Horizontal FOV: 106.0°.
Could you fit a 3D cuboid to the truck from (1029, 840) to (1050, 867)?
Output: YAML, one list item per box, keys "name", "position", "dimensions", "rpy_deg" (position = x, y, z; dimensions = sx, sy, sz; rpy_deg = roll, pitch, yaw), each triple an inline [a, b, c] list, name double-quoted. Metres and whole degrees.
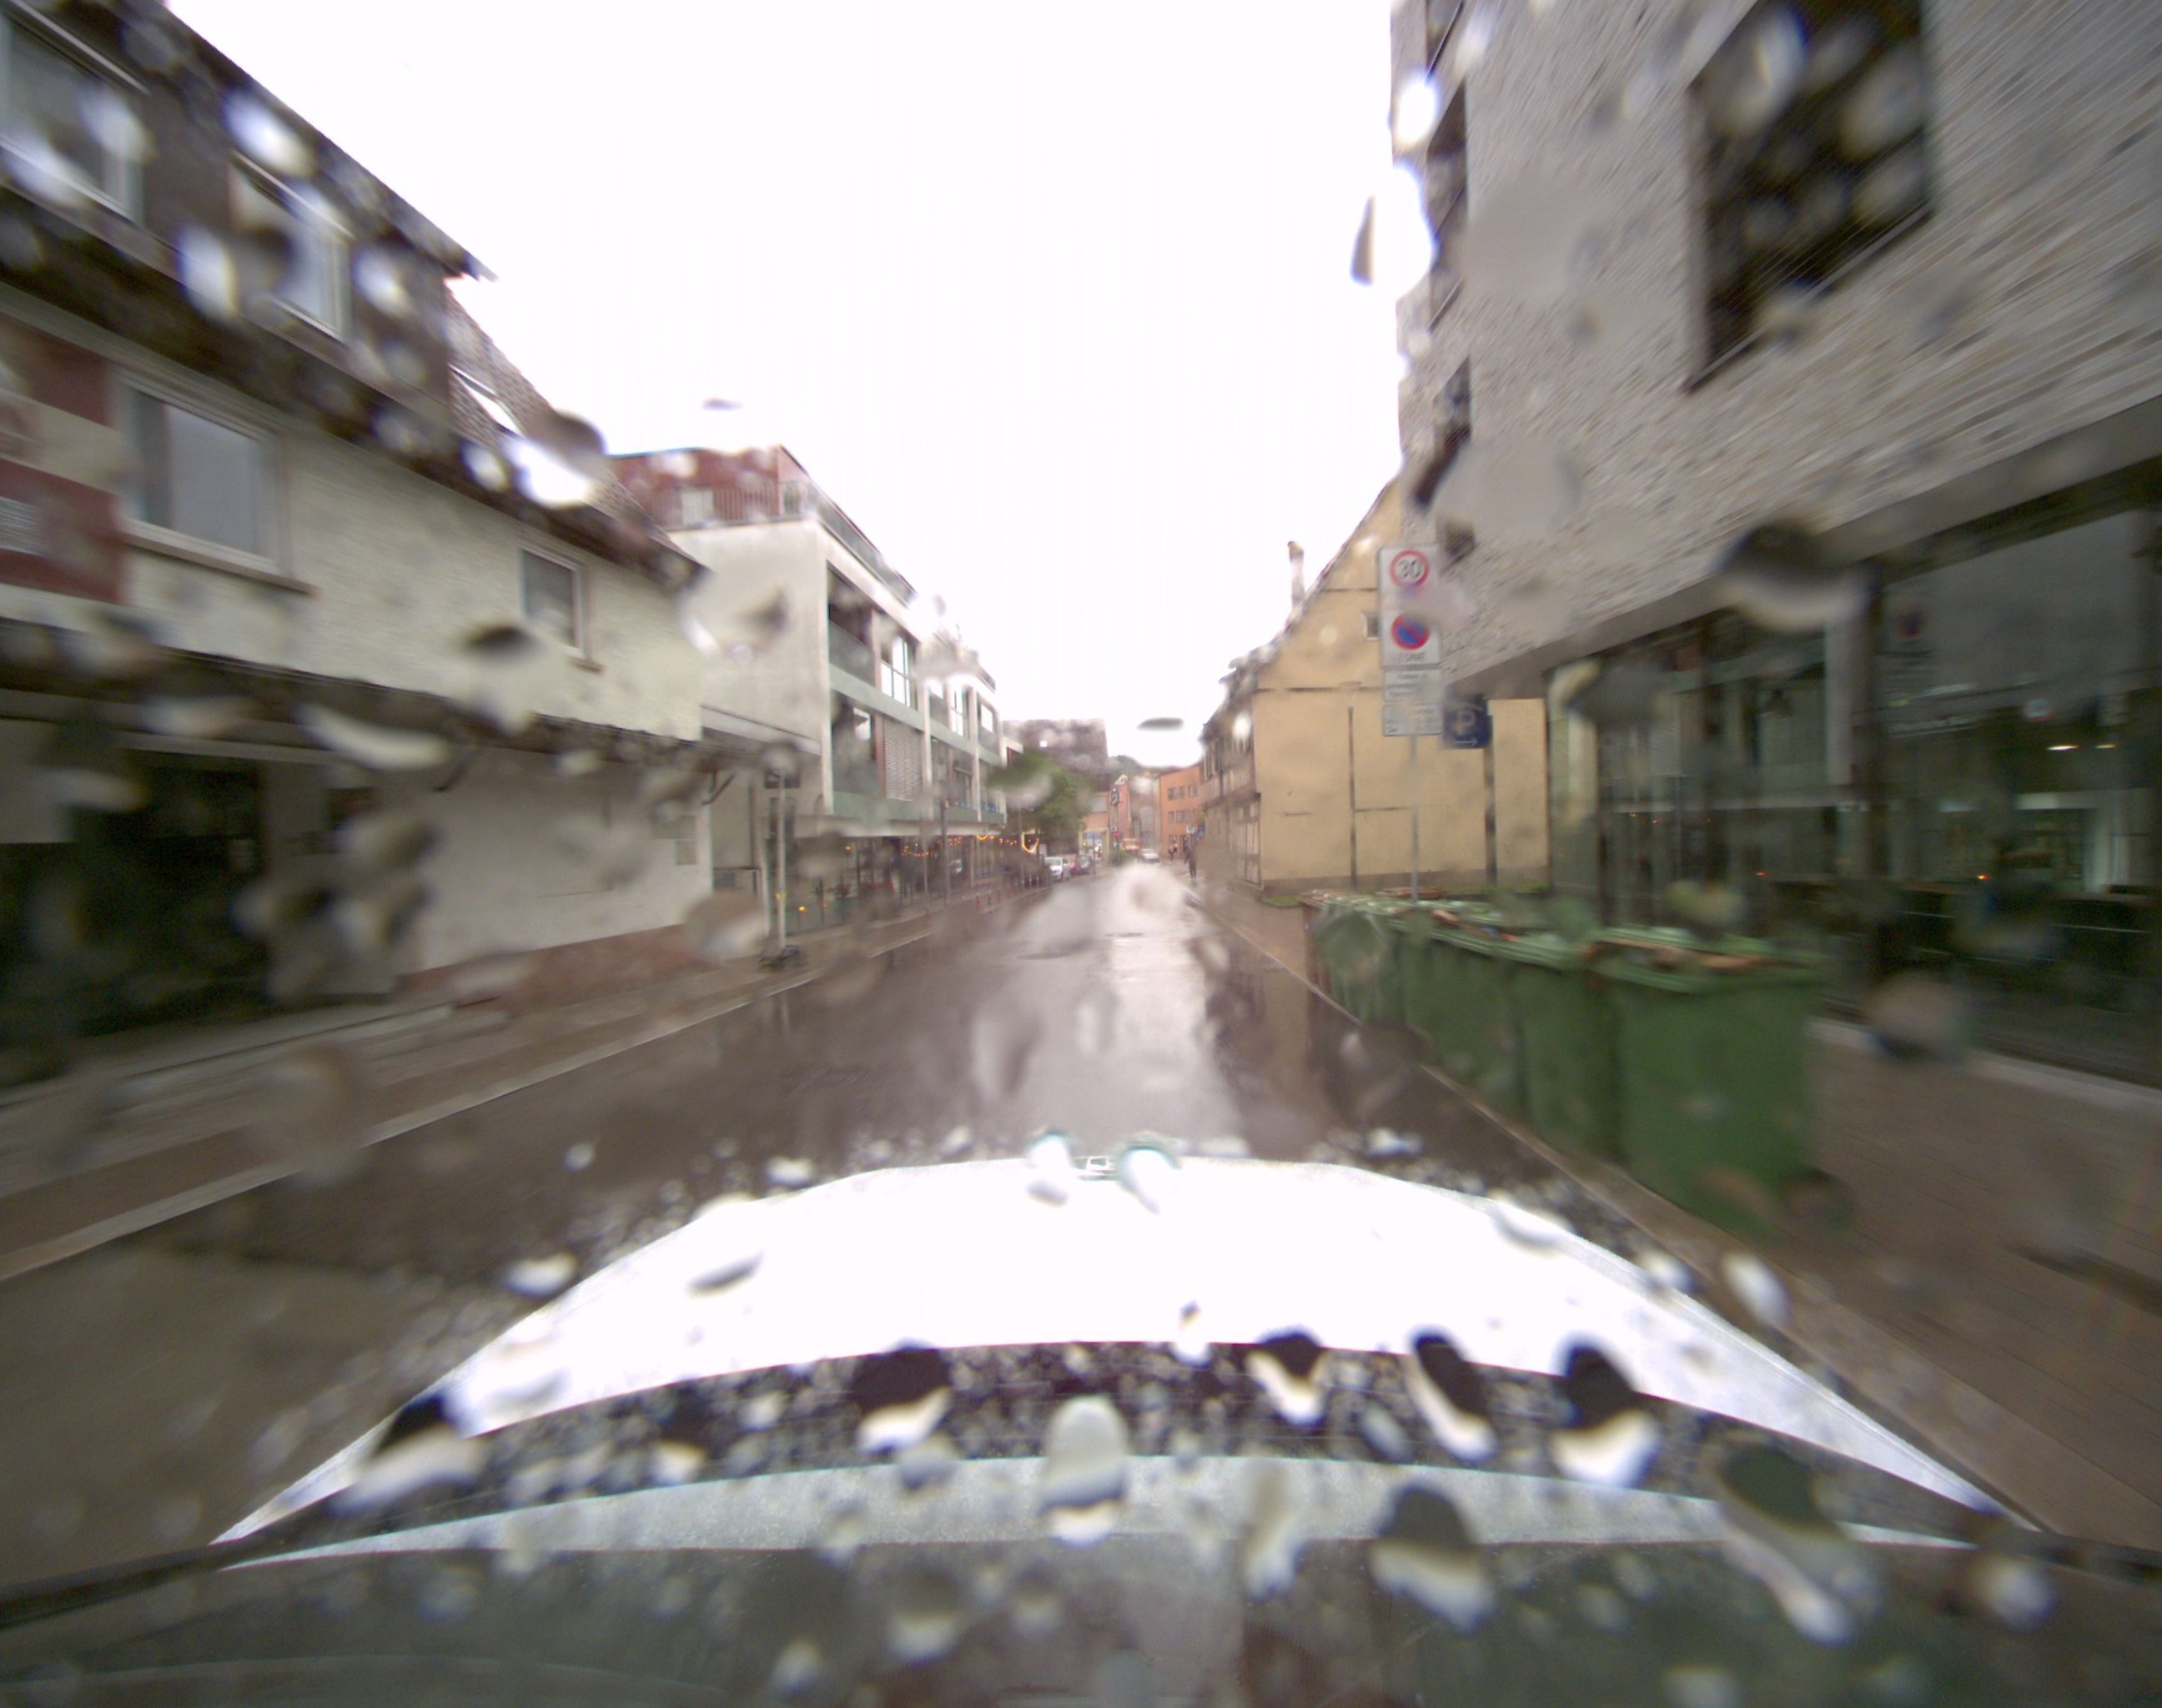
- name: "truck"
  position: [-3.826, -0.065, 75.429]
  dimensions: [1.591, 2.062, 3.194]
  rpy_deg: [-4, 5, 1]

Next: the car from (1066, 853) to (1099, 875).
- name: "car"
  position: [0.115, 0.697, 59.854]
  dimensions: [1.704, 1.458, 3.922]
  rpy_deg: [-1, 1, 10]

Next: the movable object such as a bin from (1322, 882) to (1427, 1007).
- name: "movable object such as a bin"
  position: [2.788, 0.847, 7.798]
  dimensions: [0.762, 1.095, 0.581]
  rpy_deg: [-3, 0, 3]

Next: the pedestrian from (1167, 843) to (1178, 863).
- name: "pedestrian"
  position: [8.819, -0.112, 78.271]
  dimensions: [0.854, 1.914, 0.762]
  rpy_deg: [-2, 0, 19]

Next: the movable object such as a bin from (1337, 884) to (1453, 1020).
- name: "movable object such as a bin"
  position: [2.757, 0.845, 7.205]
  dimensions: [0.762, 1.095, 0.581]
  rpy_deg: [-3, 0, 3]

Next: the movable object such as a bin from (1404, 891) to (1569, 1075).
- name: "movable object such as a bin"
  position: [2.662, 0.823, 5.409]
  dimensions: [0.762, 1.095, 0.581]
  rpy_deg: [-3, 0, 3]

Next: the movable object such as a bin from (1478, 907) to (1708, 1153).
- name: "movable object such as a bin"
  position: [2.599, 0.861, 4.210]
  dimensions: [0.737, 1.095, 0.658]
  rpy_deg: [-3, 0, 2]

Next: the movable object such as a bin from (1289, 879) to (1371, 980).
- name: "movable object such as a bin"
  position: [2.921, 0.870, 9.609]
  dimensions: [0.762, 1.095, 0.581]
  rpy_deg: [-3, 0, 3]

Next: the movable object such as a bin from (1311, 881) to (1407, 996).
- name: "movable object such as a bin"
  position: [2.853, 0.854, 8.417]
  dimensions: [0.762, 1.095, 0.581]
  rpy_deg: [-3, 0, 3]

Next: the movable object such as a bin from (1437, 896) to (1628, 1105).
- name: "movable object such as a bin"
  position: [2.630, 0.830, 4.806]
  dimensions: [0.762, 1.095, 0.581]
  rpy_deg: [-3, 0, 3]

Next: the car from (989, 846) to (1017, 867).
- name: "car"
  position: [-7.124, 0.210, 74.599]
  dimensions: [1.803, 1.617, 4.007]
  rpy_deg: [-2, 4, 5]

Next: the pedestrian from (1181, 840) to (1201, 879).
- name: "pedestrian"
  position: [5.534, 0.252, 41.066]
  dimensions: [0.807, 1.885, 0.908]
  rpy_deg: [-4, 0, 1]

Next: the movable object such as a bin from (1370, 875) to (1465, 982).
- name: "movable object such as a bin"
  position: [3.703, 0.803, 9.017]
  dimensions: [0.762, 1.095, 0.627]
  rpy_deg: [-3, 0, 3]

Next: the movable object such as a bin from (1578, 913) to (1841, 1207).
- name: "movable object such as a bin"
  position: [2.667, 0.842, 3.517]
  dimensions: [0.660, 1.095, 0.551]
  rpy_deg: [-3, 0, 1]

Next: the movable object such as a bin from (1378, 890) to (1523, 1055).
- name: "movable object such as a bin"
  position: [2.692, 0.846, 5.996]
  dimensions: [0.762, 1.095, 0.581]
  rpy_deg: [-3, 0, 3]

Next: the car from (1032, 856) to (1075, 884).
- name: "car"
  position: [-1.631, 0.912, 49.214]
  dimensions: [1.776, 1.498, 4.465]
  rpy_deg: [-3, 0, 8]

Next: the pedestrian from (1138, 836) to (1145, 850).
- name: "pedestrian"
  position: [8.888, -1.648, 120.300]
  dimensions: [0.865, 2.013, 0.706]
  rpy_deg: [-2, 1, -5]

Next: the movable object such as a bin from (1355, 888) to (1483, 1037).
- name: "movable object such as a bin"
  position: [2.715, 0.852, 6.596]
  dimensions: [0.762, 1.095, 0.581]
  rpy_deg: [-3, 0, 3]

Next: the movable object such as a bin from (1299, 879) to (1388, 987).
- name: "movable object such as a bin"
  position: [2.887, 0.859, 9.009]
  dimensions: [0.762, 1.095, 0.581]
  rpy_deg: [-3, 0, 3]

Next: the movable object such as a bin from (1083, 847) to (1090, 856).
- name: "movable object such as a bin"
  position: [0.839, -0.442, 126.521]
  dimensions: [0.833, 1.382, 0.852]
  rpy_deg: [-2, 1, -6]

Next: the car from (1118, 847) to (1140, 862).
- name: "car"
  position: [4.833, 0.055, 83.034]
  dimensions: [1.711, 1.458, 3.905]
  rpy_deg: [-1, 1, -4]

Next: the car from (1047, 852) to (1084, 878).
- name: "car"
  position: [-1.013, 0.717, 54.926]
  dimensions: [1.776, 1.576, 4.116]
  rpy_deg: [-3, 0, 8]

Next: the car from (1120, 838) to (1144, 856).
- name: "car"
  position: [6.748, -0.902, 108.459]
  dimensions: [2.102, 2.146, 4.854]
  rpy_deg: [-4, 0, -7]
